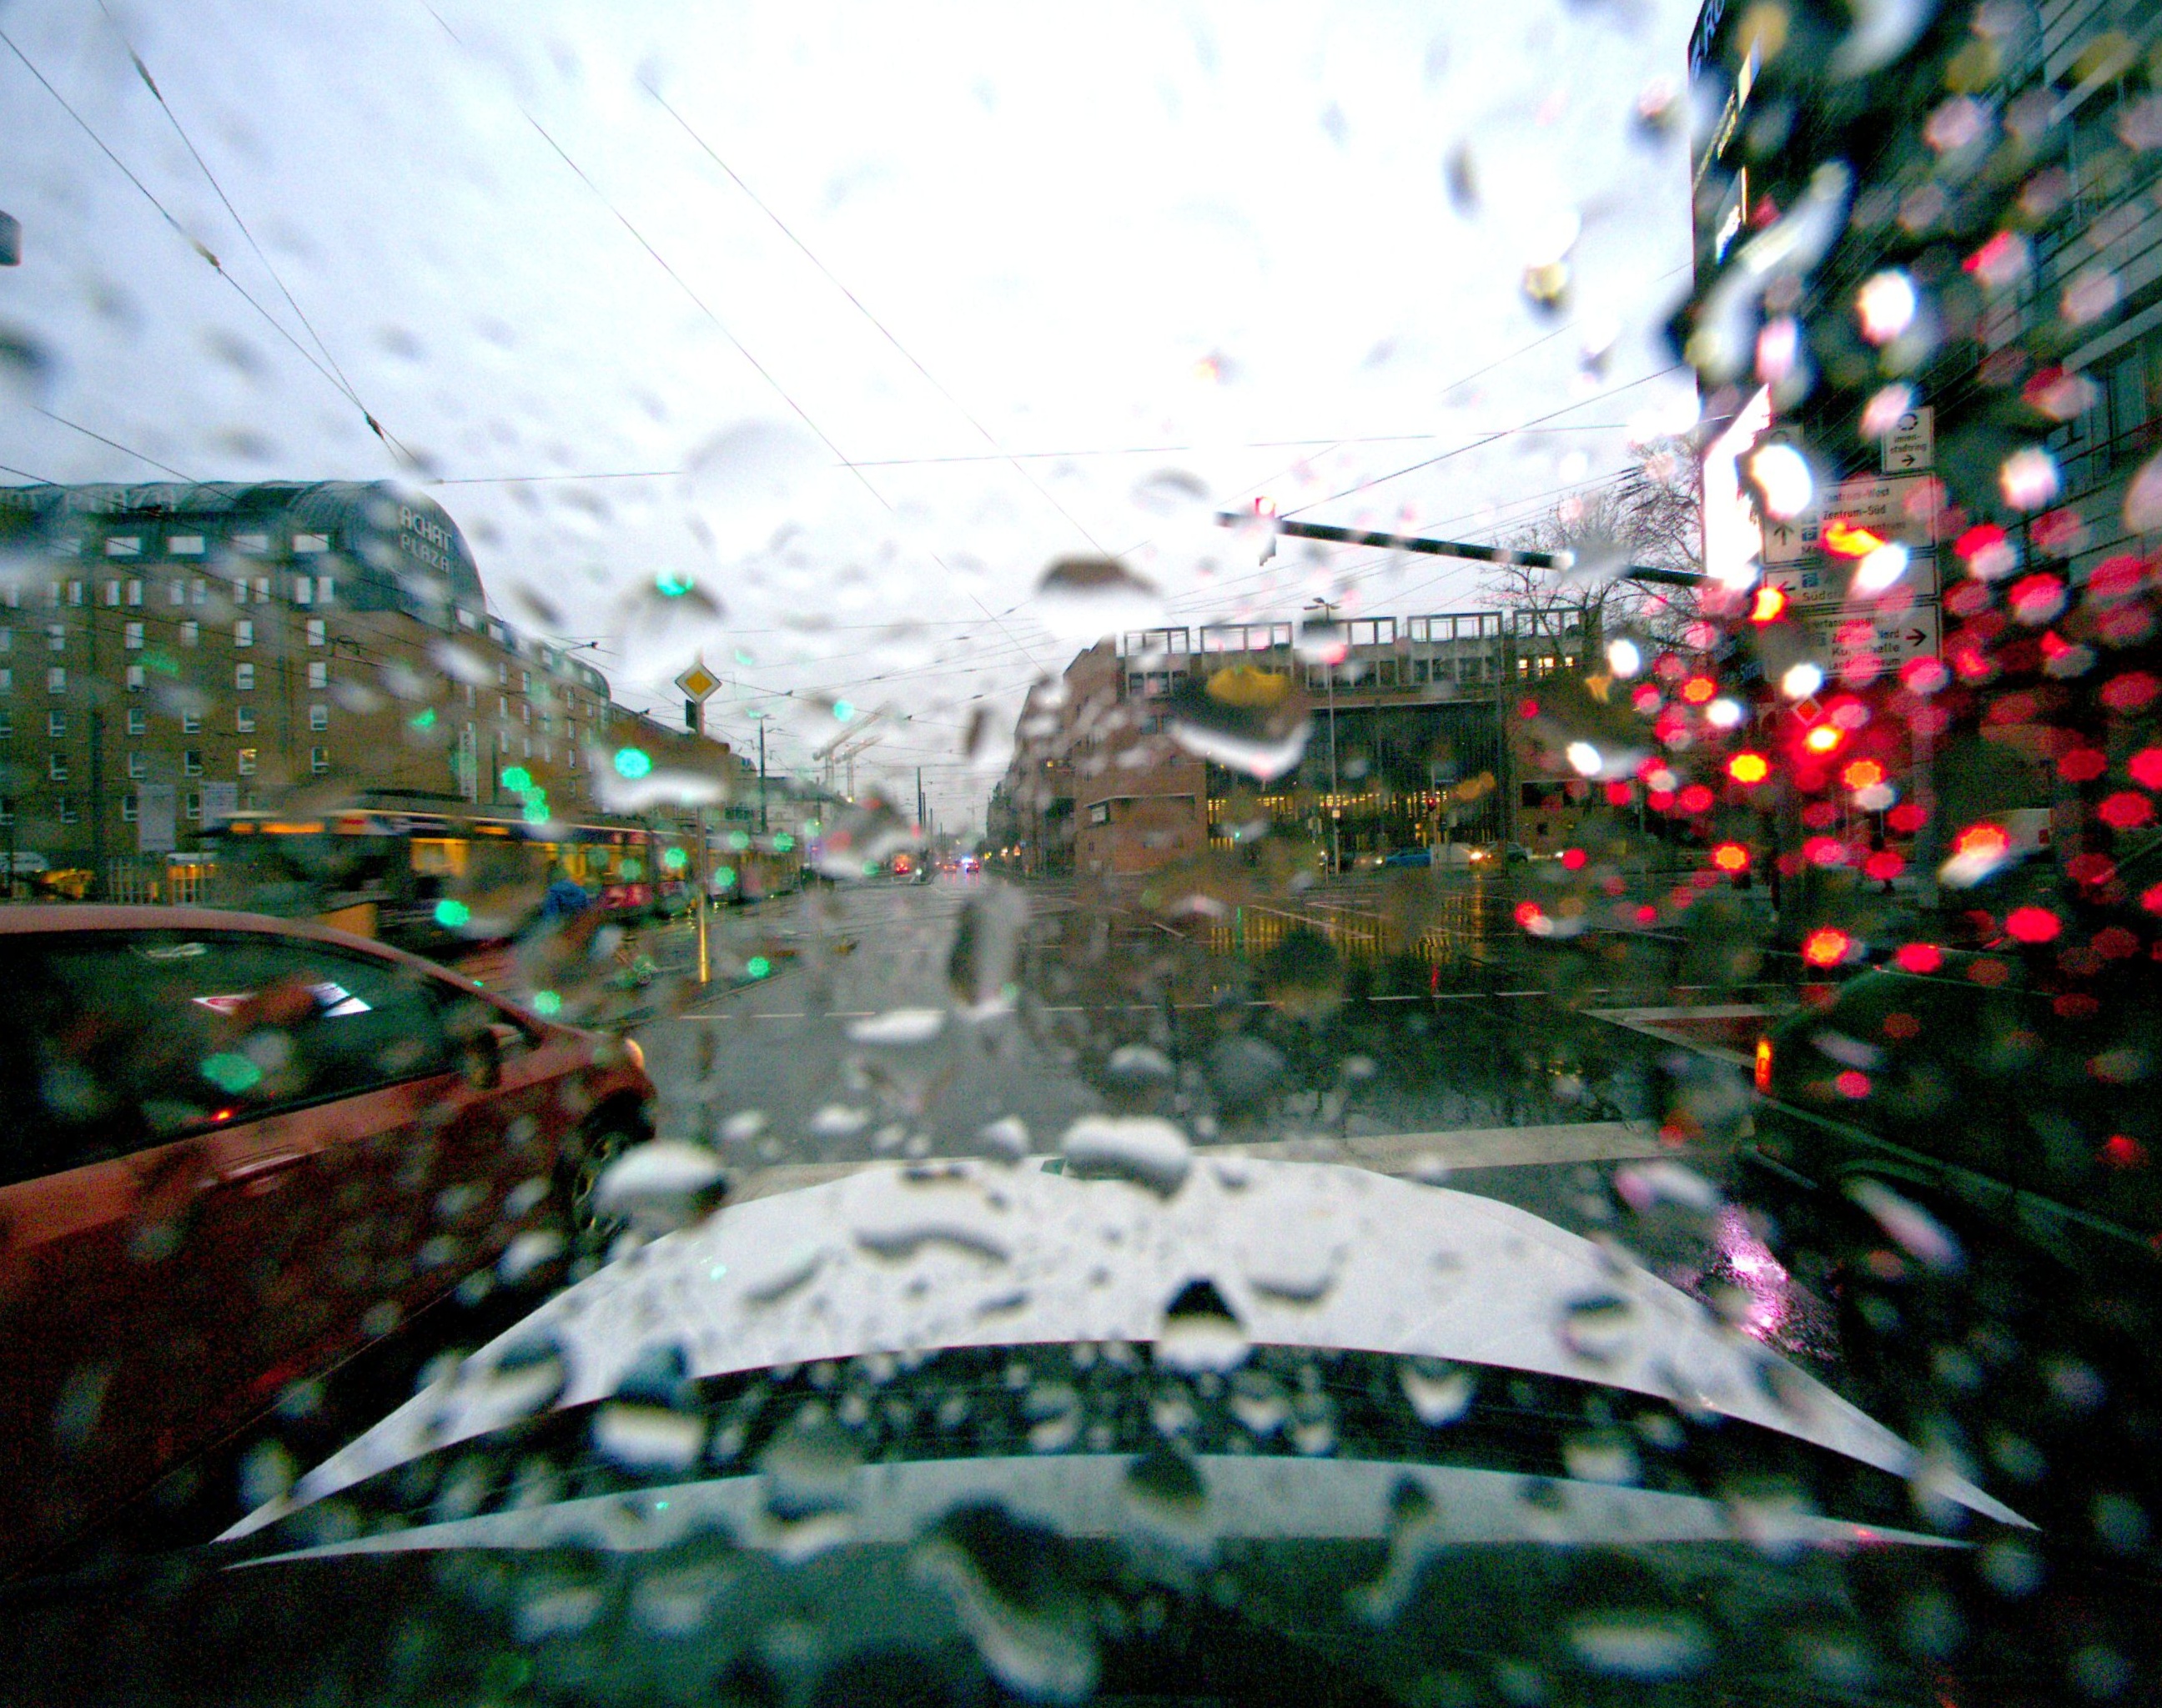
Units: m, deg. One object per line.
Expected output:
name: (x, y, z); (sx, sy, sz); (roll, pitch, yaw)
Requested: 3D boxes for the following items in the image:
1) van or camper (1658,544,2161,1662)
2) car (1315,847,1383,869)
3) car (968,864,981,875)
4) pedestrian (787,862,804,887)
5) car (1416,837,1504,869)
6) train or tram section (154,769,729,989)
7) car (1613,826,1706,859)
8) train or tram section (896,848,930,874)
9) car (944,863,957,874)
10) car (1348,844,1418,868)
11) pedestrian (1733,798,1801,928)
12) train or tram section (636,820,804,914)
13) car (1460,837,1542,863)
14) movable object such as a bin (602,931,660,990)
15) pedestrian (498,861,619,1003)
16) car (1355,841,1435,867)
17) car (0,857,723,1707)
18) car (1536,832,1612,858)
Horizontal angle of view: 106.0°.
van or camper: (2.683, 0.421, 0.410); (1.750, 1.906, 4.420); (-1, 0, 2)
car: (18.252, 0.268, 55.557); (3.977, 1.310, 1.998); (-2, 0, -2)
car: (-16.121, 2.304, 123.308); (1.868, 1.579, 3.991); (0, 0, -6)
pedestrian: (-23.821, 1.728, 68.026); (0.973, 2.014, 0.838); (-1, -1, 16)
car: (20.439, -0.073, 44.005); (3.979, 1.504, 1.845); (-2, 4, -4)
train or tram section: (-15.119, 0.480, 23.802); (2.861, 3.614, 20.027); (-2, 0, -6)
car: (32.253, -0.672, 45.442); (3.979, 1.600, 1.845); (-2, 4, -4)
train or tram section: (-25.792, 1.130, 126.346); (3.189, 3.436, 27.753); (-2, 0, -8)
car: (-19.496, 2.100, 121.718); (1.869, 1.579, 3.989); (0, 0, -8)
car: (19.150, 0.099, 51.706); (3.713, 1.263, 1.845); (-2, 4, -4)
pedestrian: (11.873, 0.150, 14.114); (0.574, 2.184, 0.619); (-1, -1, -4)
train or tram section: (-17.475, 0.586, 41.651); (2.864, 3.614, 19.152); (-2, 0, -9)
car: (24.825, -0.274, 48.191); (3.979, 1.288, 1.845); (-2, 4, -4)
movable object such as a bin: (-5.896, 1.378, 10.670); (0.407, 0.699, 0.541); (-5, -2, 42)
pedestrian: (-6.439, 0.924, 10.049); (0.707, 1.601, 1.043); (-5, -1, 43)
car: (18.319, -0.003, 47.637); (3.979, 1.263, 1.845); (-2, 4, -4)
car: (-2.659, 0.770, 2.036); (1.691, 1.459, 3.759); (-2, 0, 2)
car: (32.165, -0.603, 53.187); (3.979, 1.504, 1.845); (-2, 4, -4)
